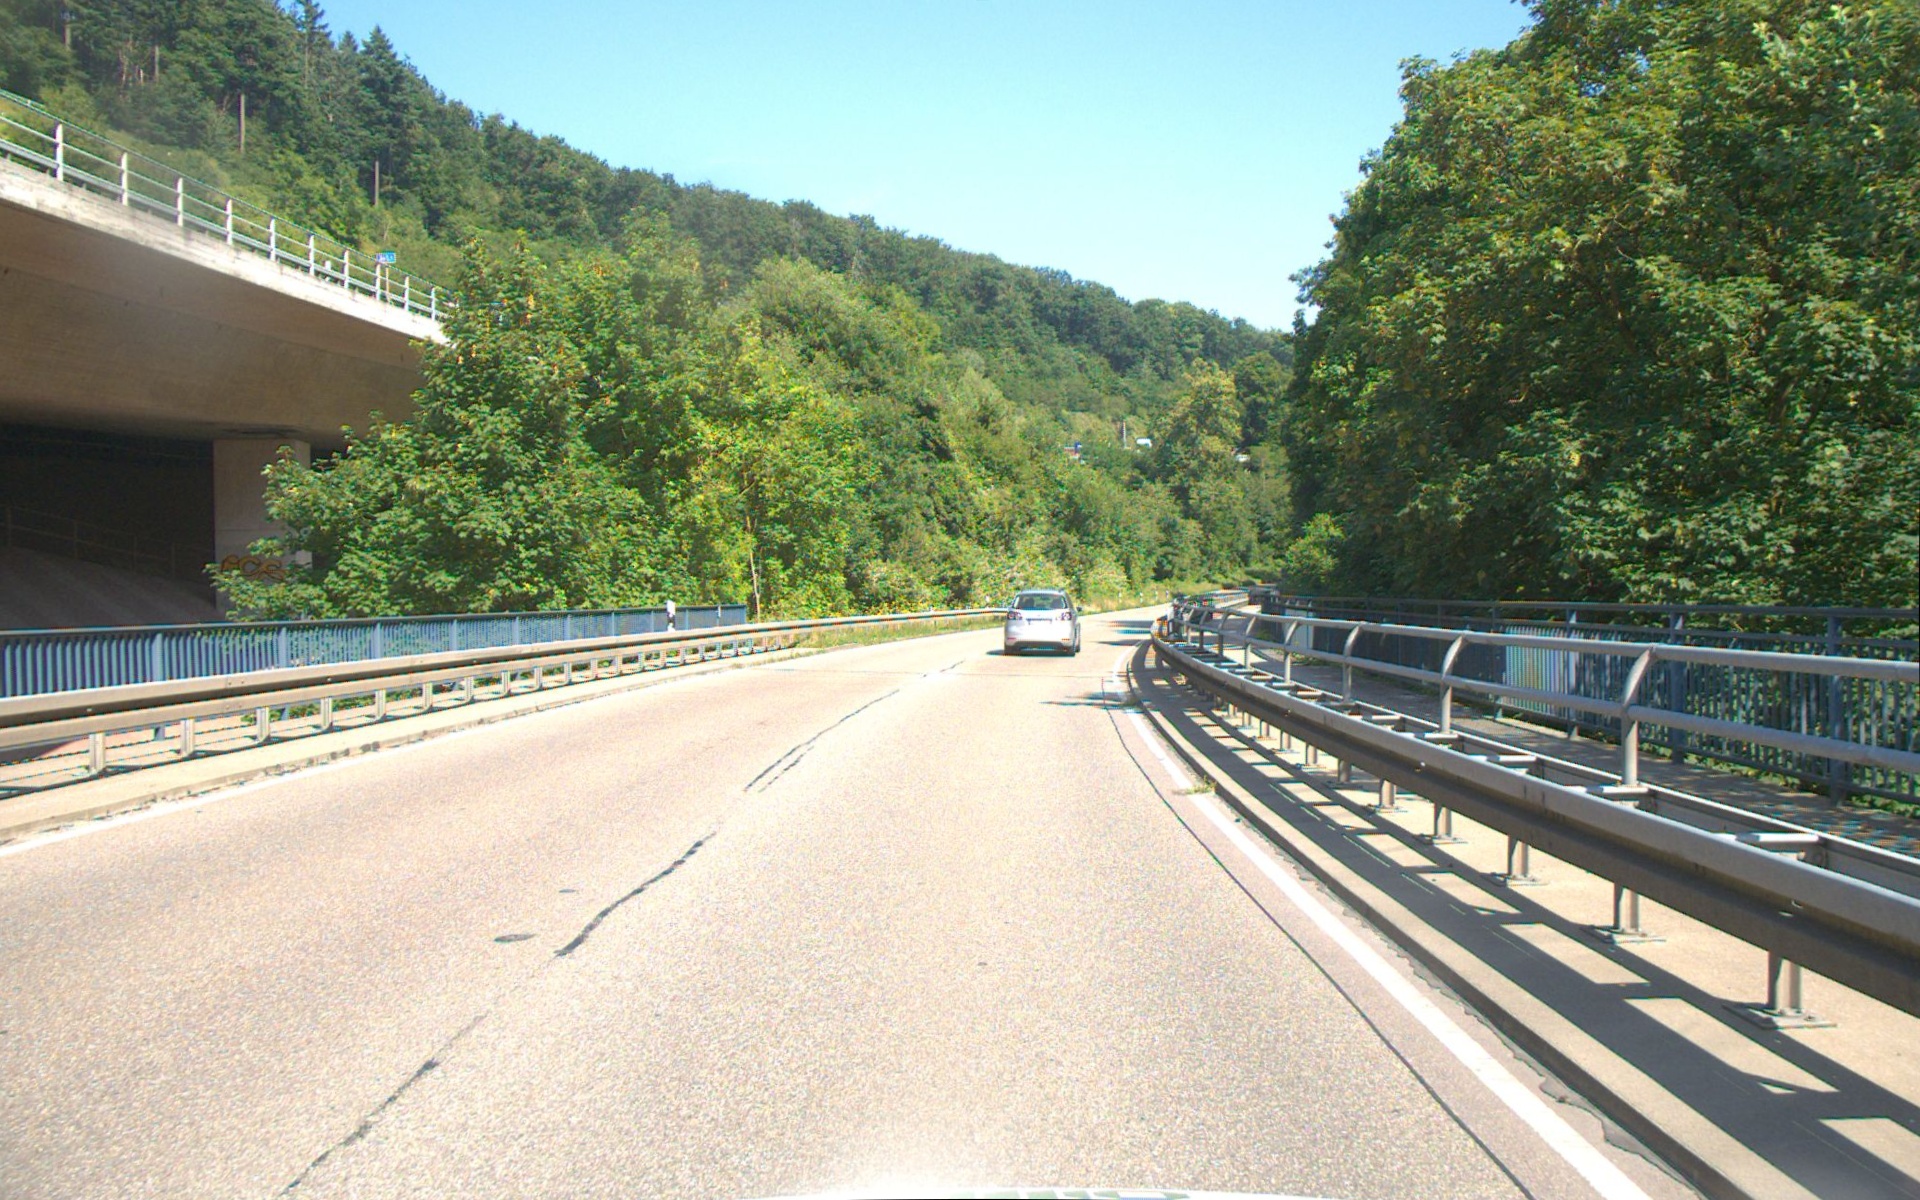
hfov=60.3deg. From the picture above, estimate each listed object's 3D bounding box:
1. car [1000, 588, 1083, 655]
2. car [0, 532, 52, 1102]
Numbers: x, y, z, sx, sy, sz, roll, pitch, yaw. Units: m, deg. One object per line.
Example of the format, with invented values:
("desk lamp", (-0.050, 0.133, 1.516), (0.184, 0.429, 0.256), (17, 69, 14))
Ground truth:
("car", (2.052, 0.512, 40.681), (1.714, 1.546, 4.162), (1, 0, 7))
("car", (-3.609, 0.605, 2.607), (1.860, 1.608, 4.554), (1, 0, -1))
